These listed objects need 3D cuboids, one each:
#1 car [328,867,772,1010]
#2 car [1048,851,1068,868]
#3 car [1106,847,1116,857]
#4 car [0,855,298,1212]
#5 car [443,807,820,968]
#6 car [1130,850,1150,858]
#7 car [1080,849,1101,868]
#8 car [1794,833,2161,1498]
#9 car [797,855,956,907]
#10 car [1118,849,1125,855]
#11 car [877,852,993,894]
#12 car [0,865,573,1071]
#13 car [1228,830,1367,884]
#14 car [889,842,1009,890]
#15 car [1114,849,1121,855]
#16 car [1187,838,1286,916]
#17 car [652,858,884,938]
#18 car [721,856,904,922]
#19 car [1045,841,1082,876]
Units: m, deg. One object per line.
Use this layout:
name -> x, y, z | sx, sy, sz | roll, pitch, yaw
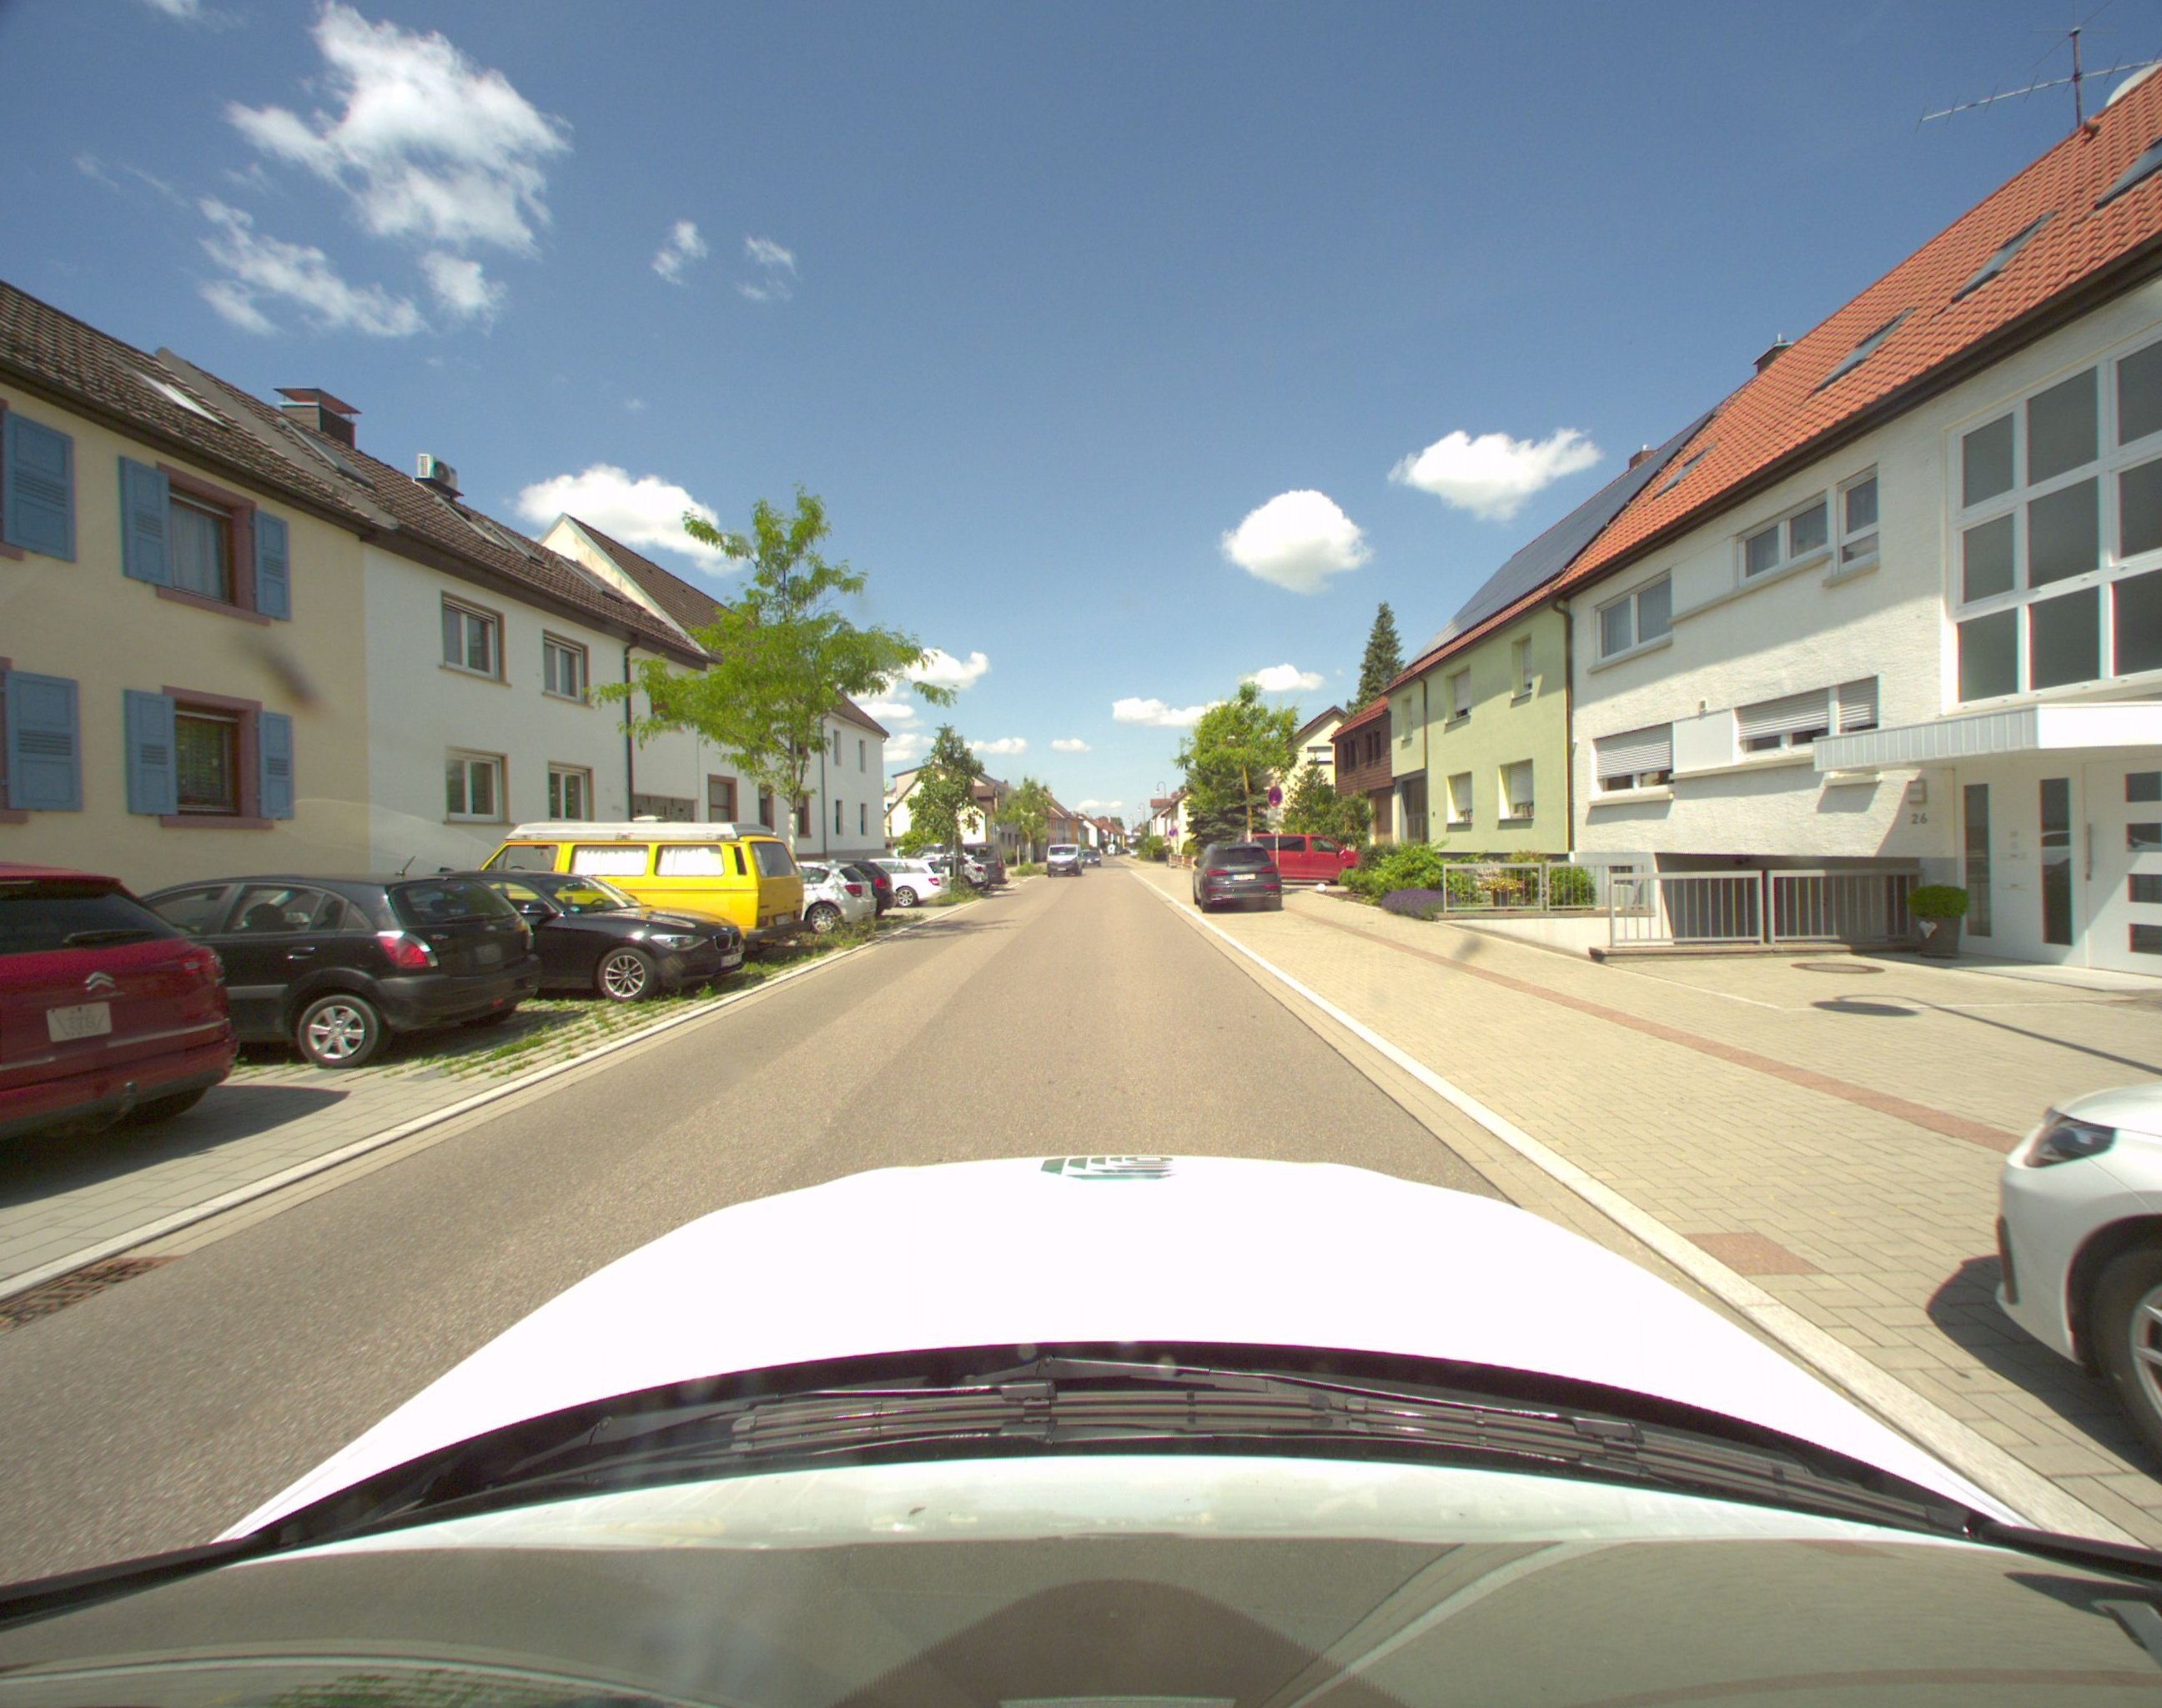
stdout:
car -> -5.953, 0.905, 9.478 | 3.995, 1.459, 1.756 | 0, 0, 1
car -> -2.193, 0.493, 79.252 | 1.811, 1.433, 4.138 | 2, 1, -1
car -> 7.296, -0.530, 197.781 | 2.035, 2.312, 3.777 | 0, -1, 5
car -> -7.010, 0.829, 4.151 | 4.238, 1.611, 1.843 | 0, 0, 0
car -> -6.461, 0.455, 12.090 | 4.492, 2.177, 1.926 | 0, 0, 1
car -> 10.455, 0.054, 143.775 | 3.510, 1.464, 1.629 | 0, -1, 2
car -> 0.877, 0.381, 73.995 | 1.756, 1.523, 4.049 | -3, 0, 1
car -> 3.286, 0.673, 0.445 | 1.826, 1.465, 4.519 | -1, 0, 0
car -> -6.108, 0.795, 24.601 | 4.277, 1.468, 1.775 | -1, -1, 3
car -> 11.401, -0.441, 227.350 | 1.683, 1.660, 3.777 | 0, 0, 5
car -> -5.548, 0.713, 31.433 | 4.172, 1.568, 1.772 | 0, -1, -2
car -> -6.764, 0.854, 6.886 | 3.780, 1.459, 1.754 | 0, 0, -1
car -> 7.920, 0.114, 30.101 | 4.603, 1.893, 2.020 | 0, -1, 0
car -> -5.461, 0.498, 34.130 | 4.683, 1.923, 1.938 | 0, -1, 1
car -> 9.835, -0.493, 219.907 | 1.683, 1.504, 3.777 | 0, 0, 5
car -> 3.794, 0.488, 20.577 | 1.856, 1.635, 4.451 | -4, 1, 4
car -> -6.218, 0.840, 16.580 | 4.068, 1.468, 1.749 | 0, 0, -7
car -> -6.311, 0.803, 19.499 | 3.875, 1.468, 1.655 | 0, -1, -7
car -> -1.032, 0.288, 50.114 | 2.016, 1.950, 4.899 | -2, 0, 1
